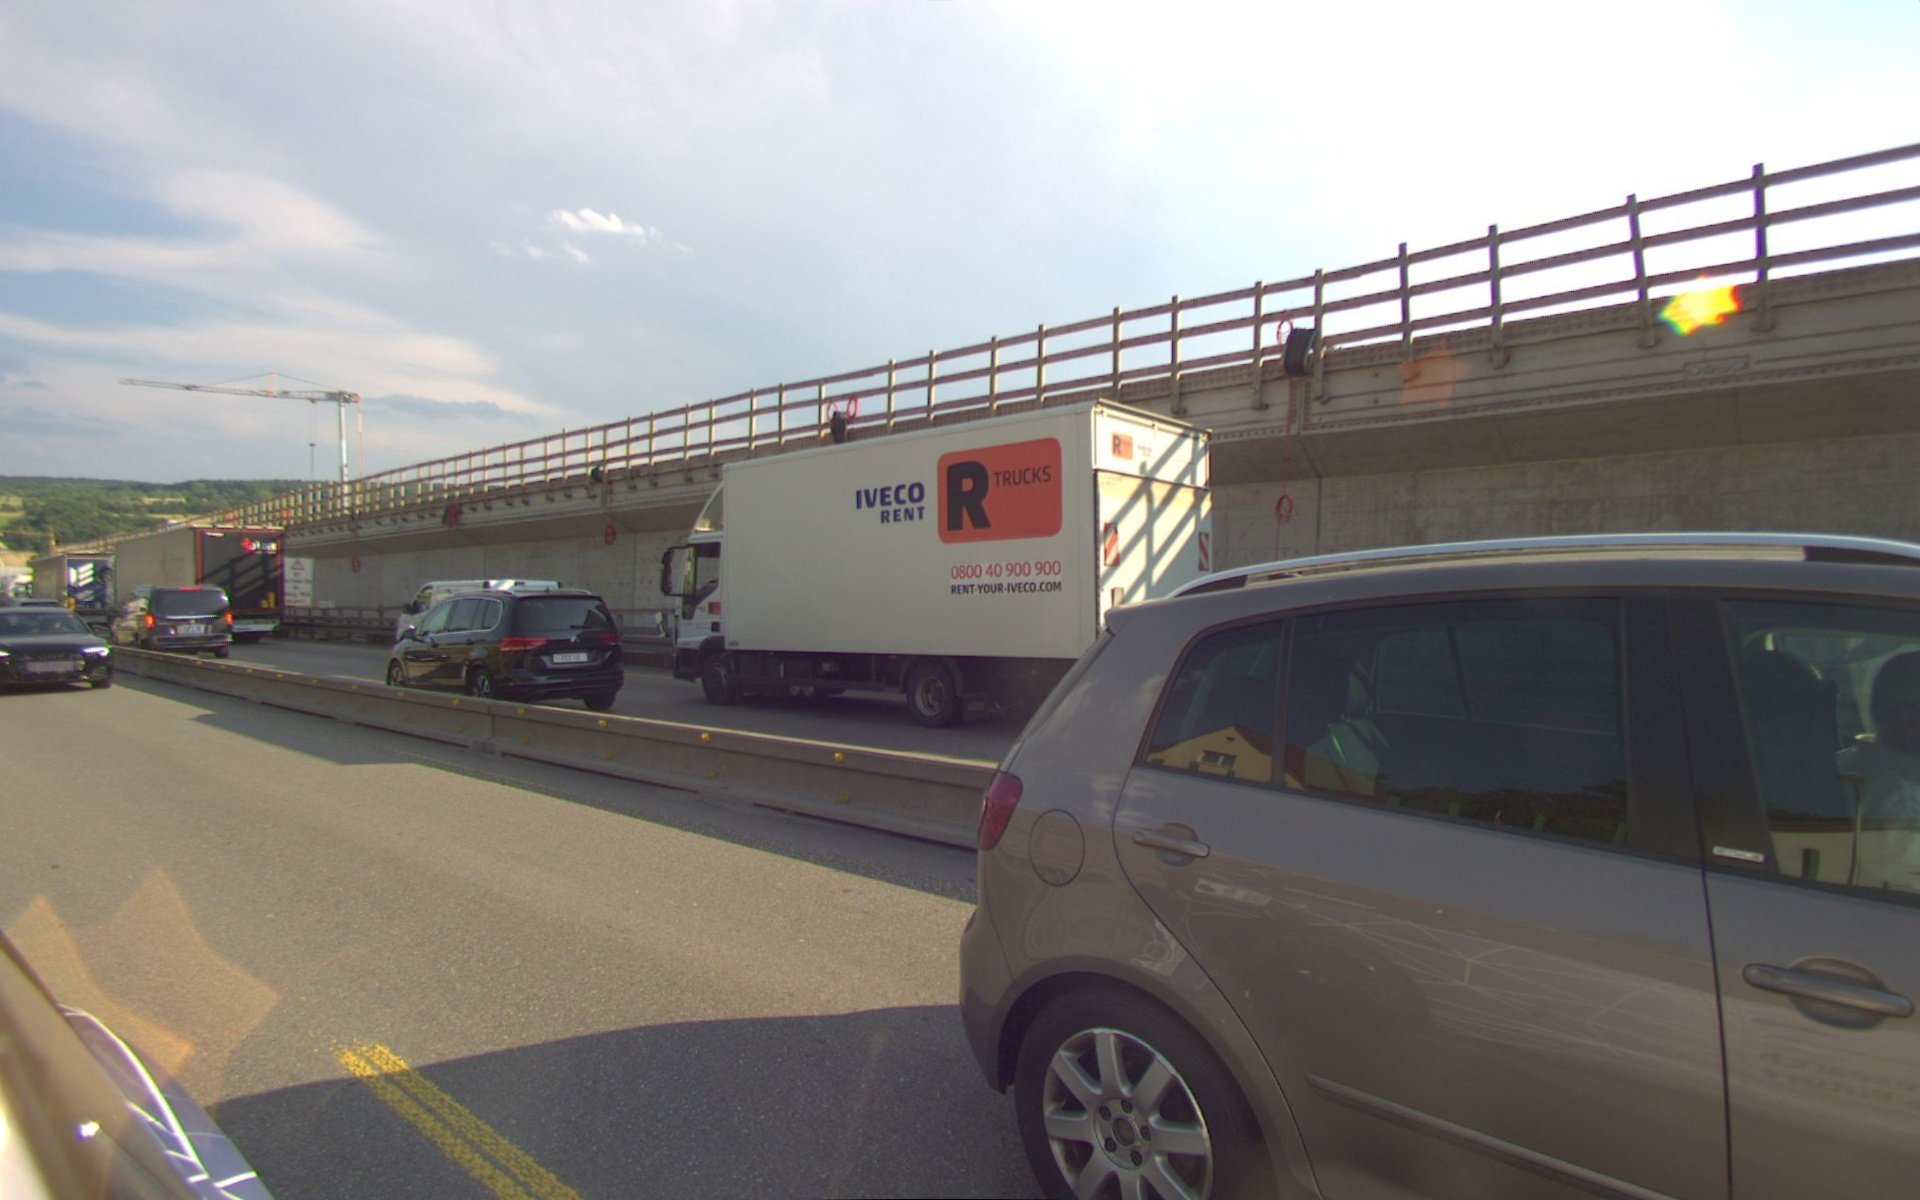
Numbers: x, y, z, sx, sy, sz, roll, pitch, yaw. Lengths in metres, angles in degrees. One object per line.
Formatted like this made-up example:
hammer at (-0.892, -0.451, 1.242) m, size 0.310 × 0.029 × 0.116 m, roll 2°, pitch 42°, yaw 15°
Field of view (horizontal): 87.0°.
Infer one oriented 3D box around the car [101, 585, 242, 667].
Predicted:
car at (-21.091, 0.641, 26.980) m, size 5.288 × 1.937 × 1.964 m, roll -1°, pitch 1°, yaw 41°

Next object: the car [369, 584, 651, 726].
car at (-6.415, 0.623, 14.164) m, size 4.687 × 1.657 × 1.813 m, roll 0°, pitch 1°, yaw 41°

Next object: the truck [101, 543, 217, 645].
truck at (-33.833, -0.282, 42.702) m, size 5.656 × 4.038 × 2.831 m, roll 0°, pitch 1°, yaw 41°

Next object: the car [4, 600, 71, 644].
car at (-40.774, 0.921, 44.703) m, size 5.141 × 1.785 × 1.802 m, roll 1°, pitch 1°, yaw 43°

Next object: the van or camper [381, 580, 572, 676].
van or camper at (-10.959, 0.581, 22.782) m, size 4.916 × 1.937 × 1.899 m, roll -1°, pitch 1°, yaw 39°

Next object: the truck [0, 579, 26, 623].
truck at (-76.952, 0.051, 81.114) m, size 5.529 × 3.435 × 2.522 m, roll 0°, pitch 1°, yaw 42°

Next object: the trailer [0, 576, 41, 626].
trailer at (-72.049, 0.024, 76.700) m, size 10.679 × 3.553 × 2.530 m, roll 0°, pitch 1°, yaw 42°

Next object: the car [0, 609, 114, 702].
car at (-16.638, 0.902, 18.001) m, size 4.348 × 1.430 × 1.848 m, roll 0°, pitch 1°, yaw 42°

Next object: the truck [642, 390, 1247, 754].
truck at (-0.680, -0.245, 13.251) m, size 8.136 × 3.450 × 2.686 m, roll 0°, pitch -2°, yaw 41°

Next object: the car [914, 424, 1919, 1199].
car at (2.024, 0.586, 1.712) m, size 4.270 × 1.600 × 1.663 m, roll -2°, pitch -3°, yaw 42°

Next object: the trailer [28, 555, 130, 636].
trailer at (-50.767, -0.156, 58.105) m, size 14.022 × 4.172 × 2.735 m, roll -1°, pitch 0°, yaw 42°

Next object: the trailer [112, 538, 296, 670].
trailer at (-29.077, 0.050, 38.509) m, size 13.765 × 4.271 × 2.883 m, roll 0°, pitch 1°, yaw 42°
